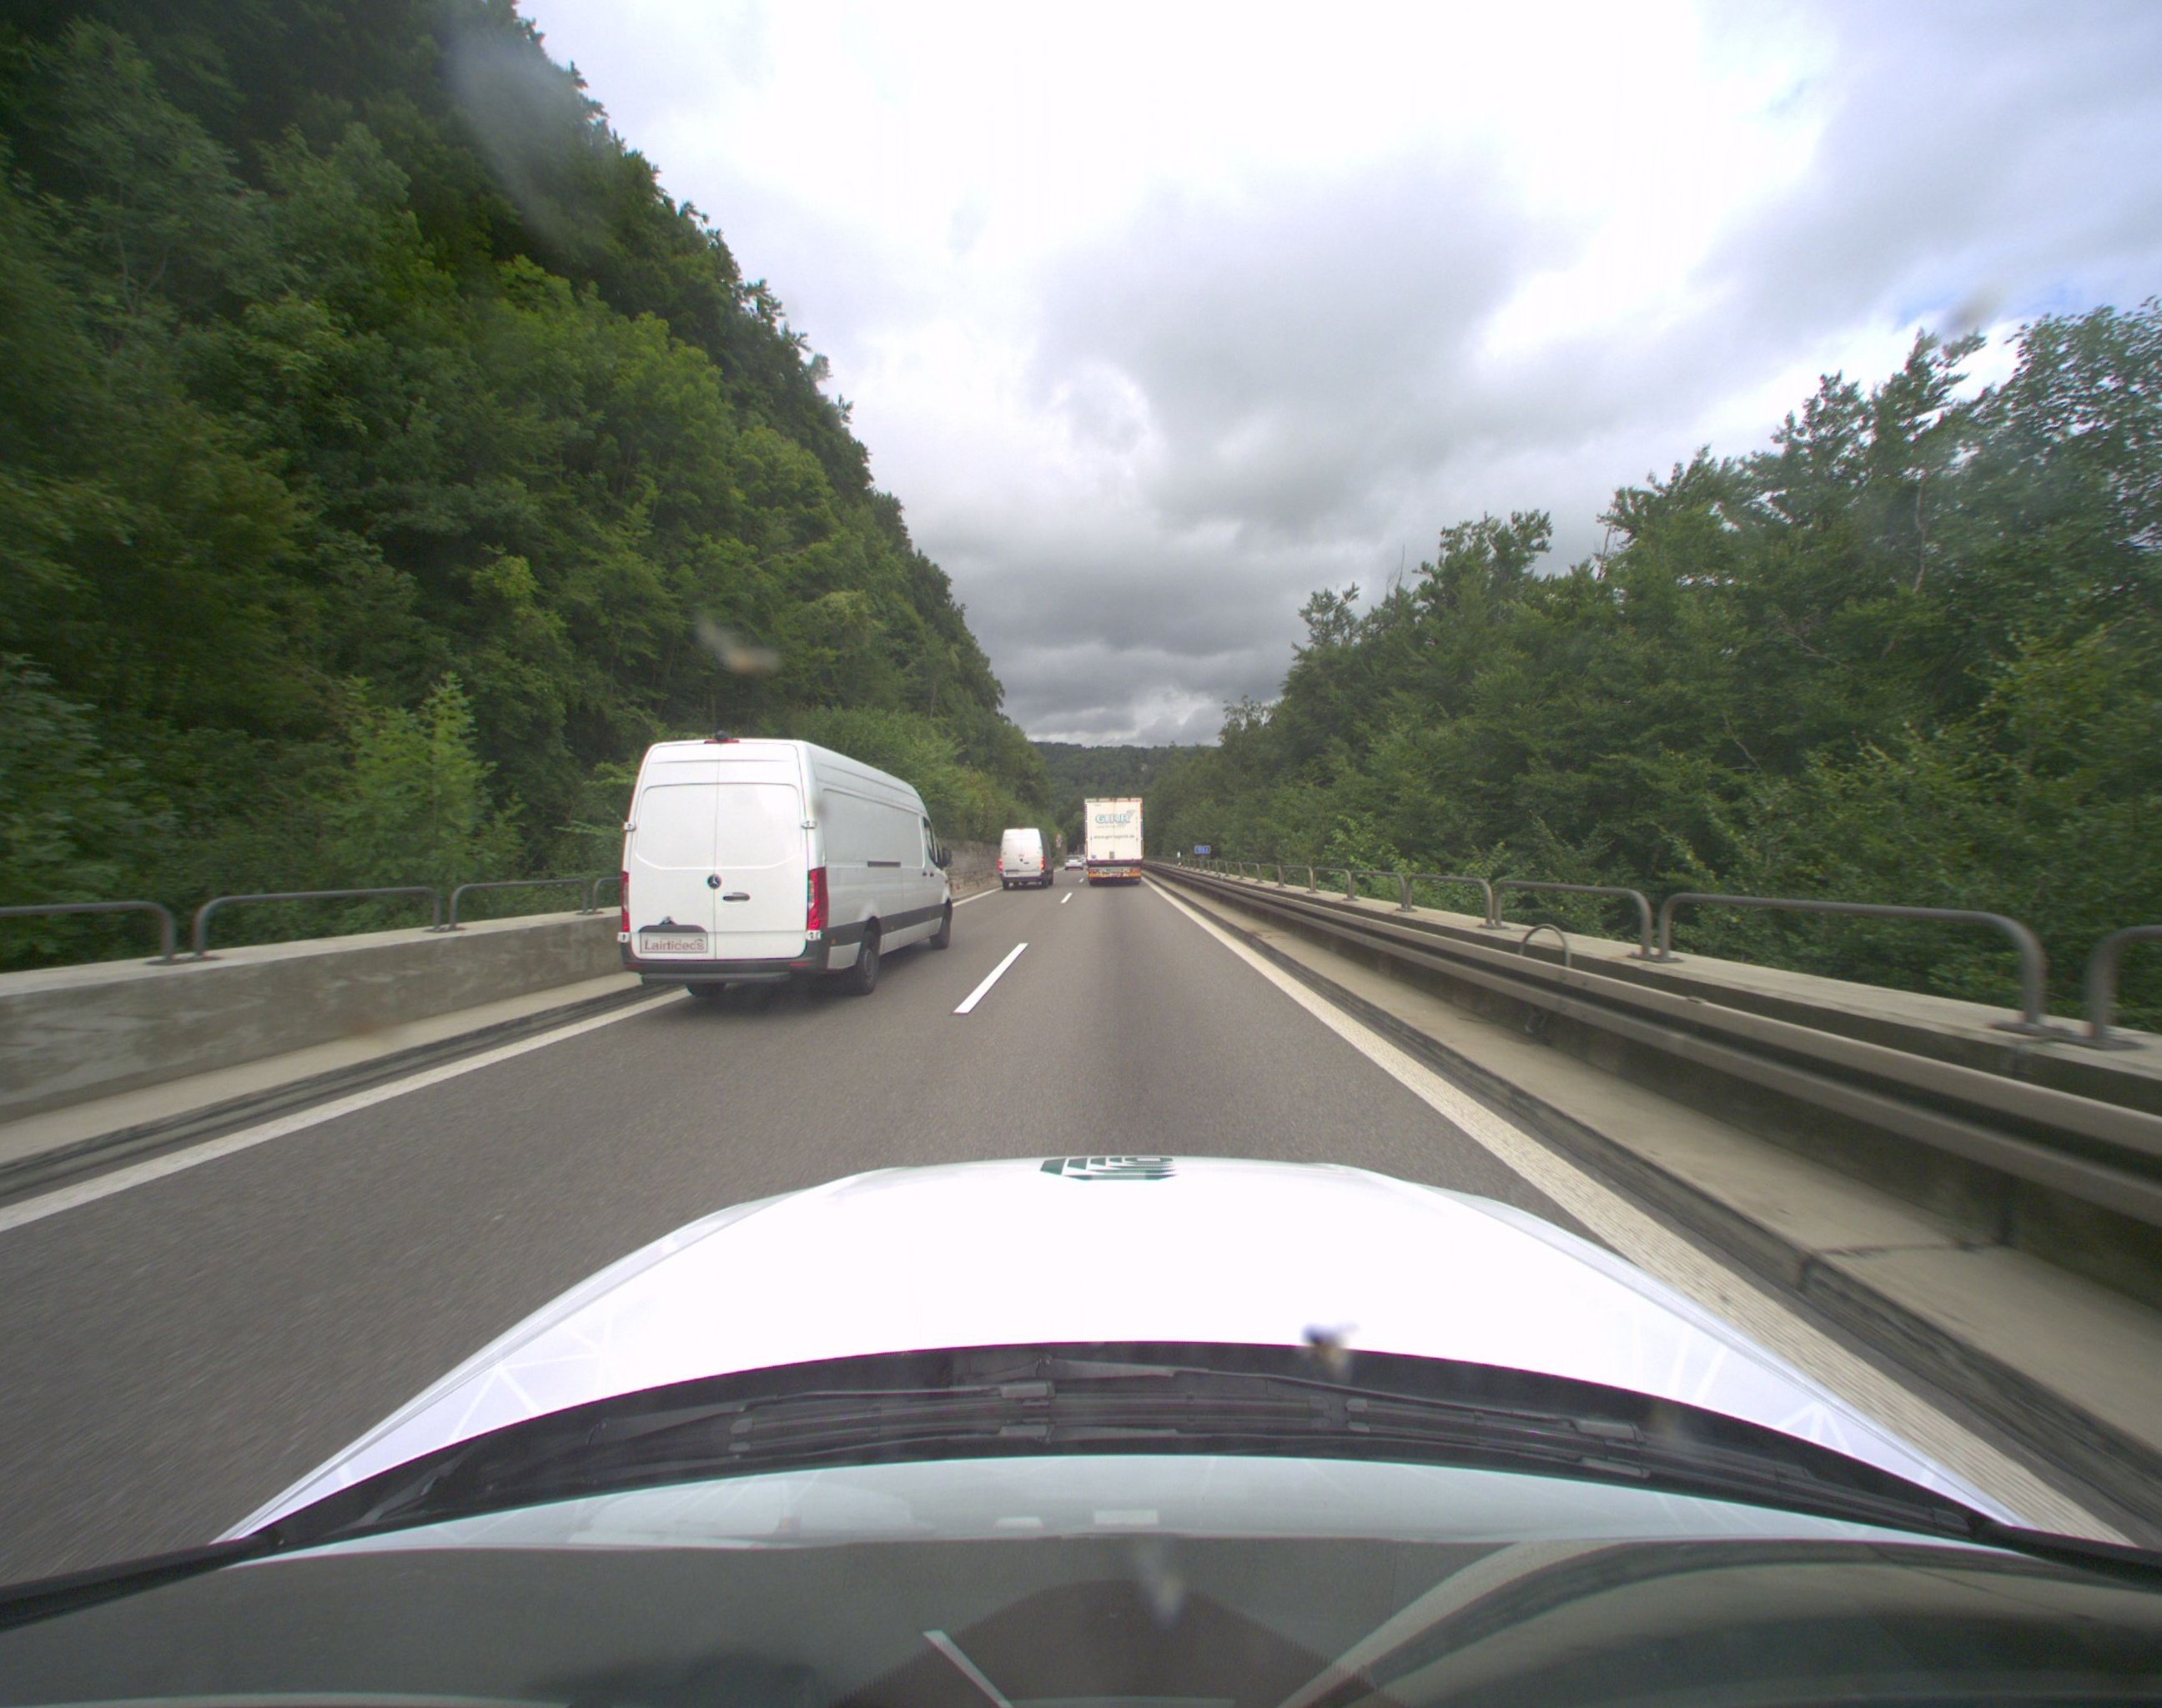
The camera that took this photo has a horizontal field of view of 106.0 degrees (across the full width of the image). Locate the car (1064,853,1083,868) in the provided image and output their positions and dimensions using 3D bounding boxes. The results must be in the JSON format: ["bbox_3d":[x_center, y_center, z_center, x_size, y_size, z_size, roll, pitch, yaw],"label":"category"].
[{"bbox_3d":[-0.681,0.665,80.350,1.725,1.421,4.001,0,0,2],"label":"car"}]

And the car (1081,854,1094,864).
[{"bbox_3d":[0.892,0.684,116.438,1.725,1.421,4.003,0,0,2],"label":"car"}]

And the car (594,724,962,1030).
[{"bbox_3d":[-3.197,0.198,10.688,1.981,2.672,6.939,-1,0,2],"label":"car"}]

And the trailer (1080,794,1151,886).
[{"bbox_3d":[1.724,-0.763,41.816,3.046,3.986,12.143,-1,1,2],"label":"trailer"}]

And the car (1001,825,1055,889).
[{"bbox_3d":[-2.356,0.123,37.600,1.933,2.672,5.992,-1,0,1],"label":"car"}]
